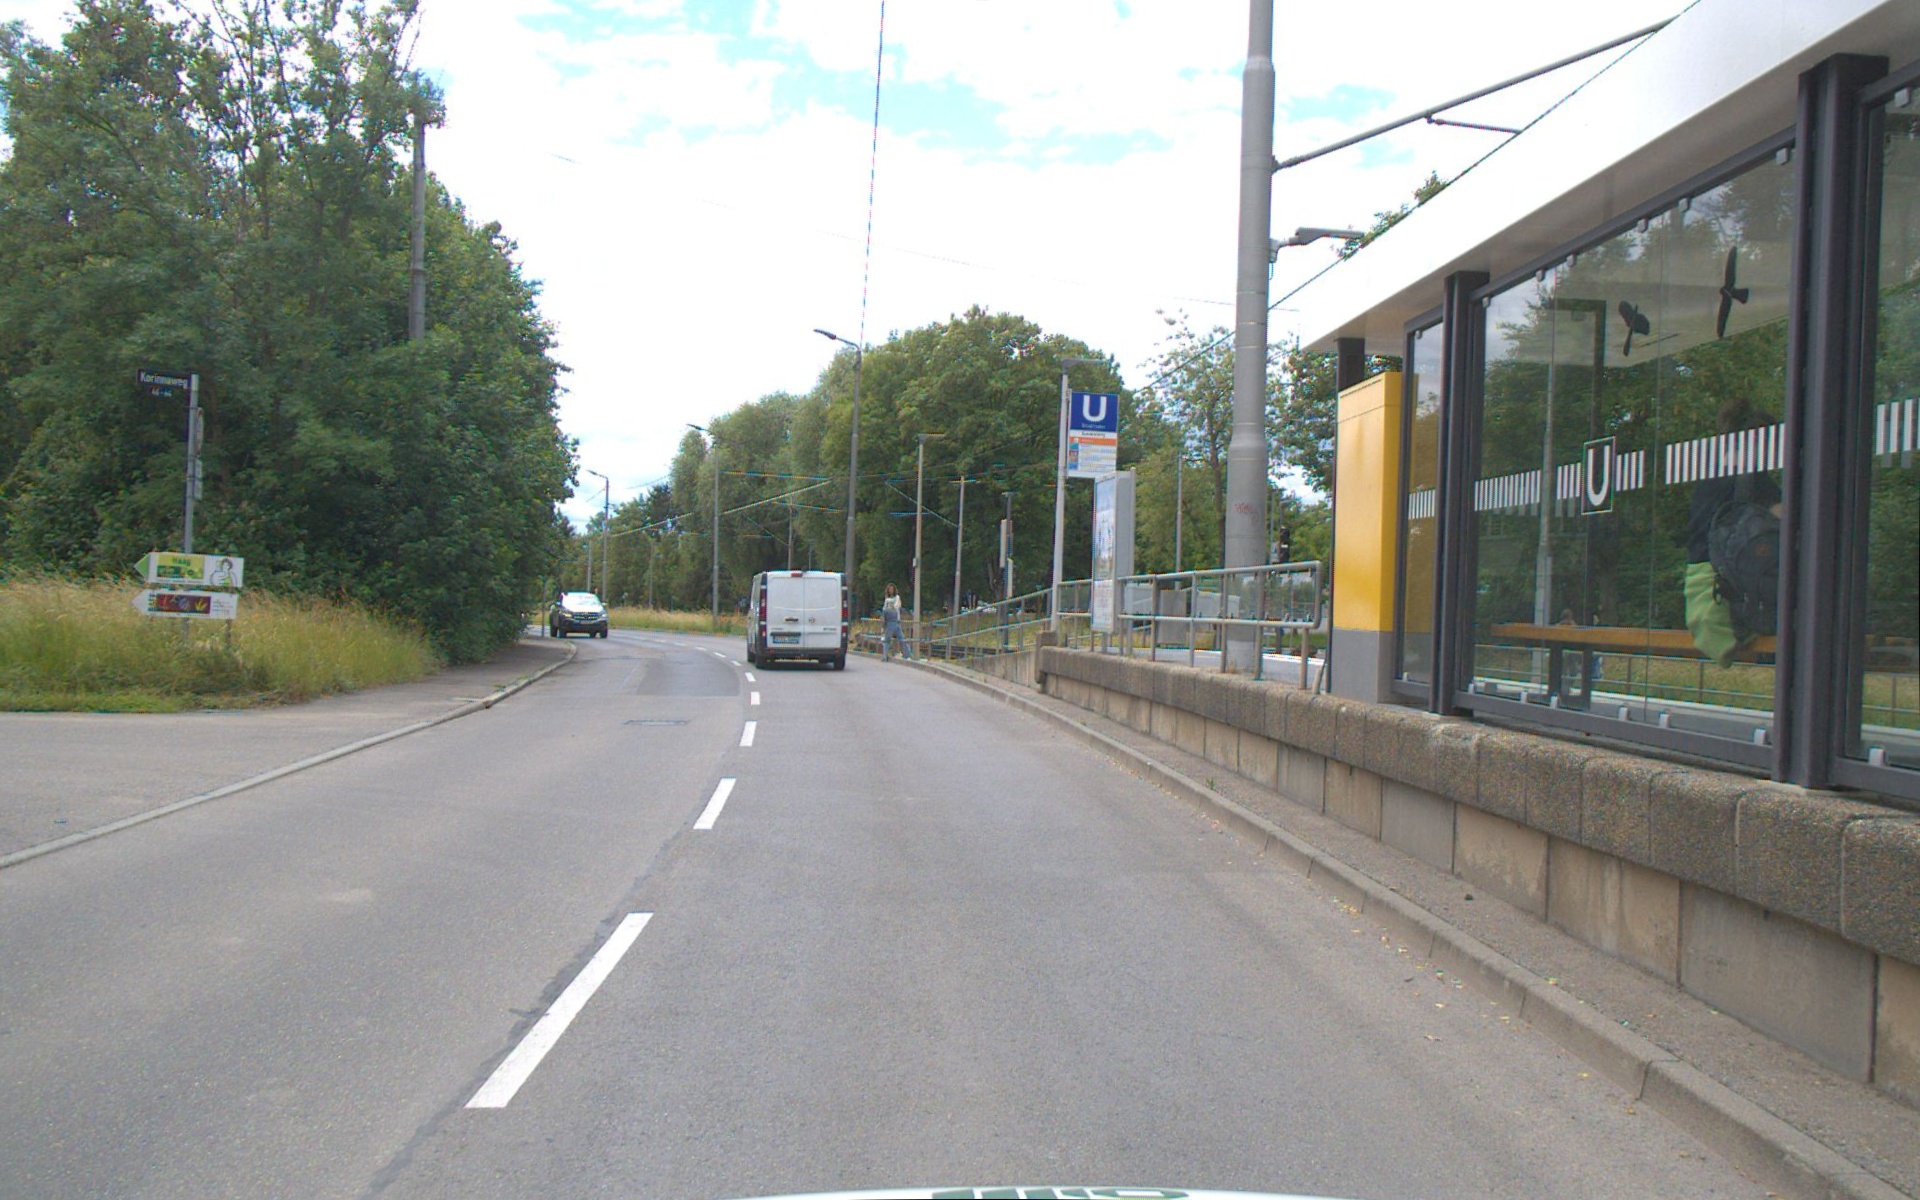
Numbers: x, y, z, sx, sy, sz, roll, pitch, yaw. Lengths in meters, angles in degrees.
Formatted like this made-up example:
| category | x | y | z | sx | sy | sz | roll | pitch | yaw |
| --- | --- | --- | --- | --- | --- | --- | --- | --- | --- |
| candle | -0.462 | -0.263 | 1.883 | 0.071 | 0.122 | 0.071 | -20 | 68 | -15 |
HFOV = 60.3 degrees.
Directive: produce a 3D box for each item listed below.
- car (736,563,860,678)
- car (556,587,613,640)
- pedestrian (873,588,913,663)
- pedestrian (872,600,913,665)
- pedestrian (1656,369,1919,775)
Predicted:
| category | x | y | z | sx | sy | sz | roll | pitch | yaw |
| --- | --- | --- | --- | --- | --- | --- | --- | --- | --- |
| car | -3.520 | 0.415 | 35.073 | 2.079 | 2.171 | 5.427 | 3 | -1 | -10 |
| car | -15.294 | 0.539 | 67.190 | 1.961 | 2.049 | 4.304 | 1 | 0 | -16 |
| pedestrian | -1.638 | 0.624 | 40.454 | 0.750 | 1.826 | 0.625 | 2 | -1 | -29 |
| pedestrian | -1.594 | 0.765 | 39.037 | 0.750 | 1.518 | 0.625 | 2 | -1 | -29 |
| pedestrian | 3.127 | -0.104 | 6.245 | 0.625 | 1.429 | 0.764 | 1 | 1 | -3 |
